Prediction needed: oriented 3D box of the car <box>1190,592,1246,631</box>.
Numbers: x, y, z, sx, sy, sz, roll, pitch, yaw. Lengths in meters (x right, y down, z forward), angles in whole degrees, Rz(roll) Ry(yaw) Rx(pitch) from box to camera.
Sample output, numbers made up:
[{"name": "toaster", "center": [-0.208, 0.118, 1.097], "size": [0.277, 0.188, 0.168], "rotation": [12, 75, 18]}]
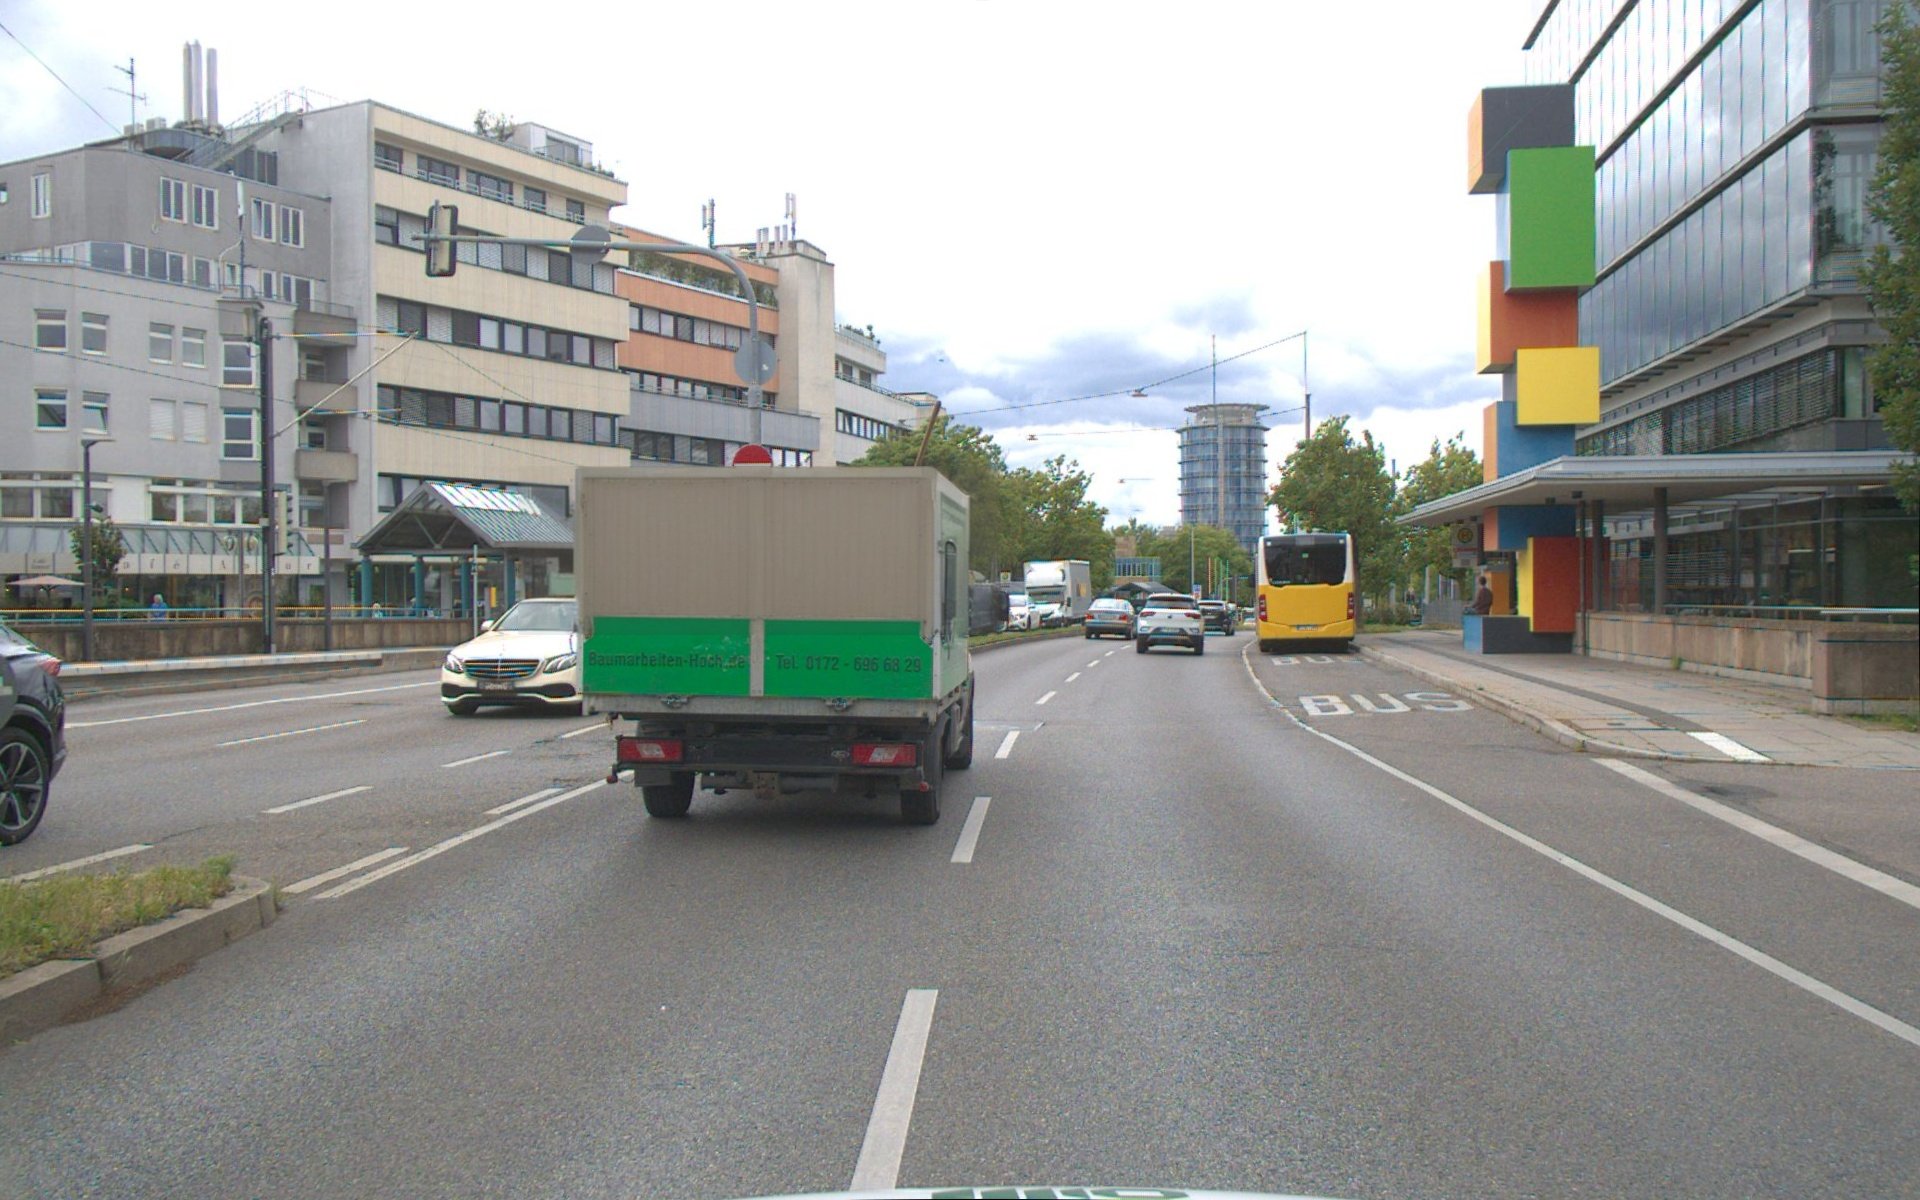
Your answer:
[{"name": "car", "center": [11.238, 0.493, 71.981], "size": [1.665, 1.542, 3.494], "rotation": [1, 2, 22]}]

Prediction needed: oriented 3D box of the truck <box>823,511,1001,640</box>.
[{"name": "truck", "center": [-1.371, -0.887, 61.772], "size": [2.891, 4.151, 16.617], "rotation": [0, 1, 12]}]

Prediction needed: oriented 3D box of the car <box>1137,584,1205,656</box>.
[{"name": "car", "center": [5.661, 0.485, 44.255], "size": [1.664, 1.574, 3.740], "rotation": [3, 4, 8]}]

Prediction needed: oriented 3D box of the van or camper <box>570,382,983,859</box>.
[{"name": "van or camper", "center": [-1.021, 0.042, 12.520], "size": [2.295, 2.708, 5.967], "rotation": [1, 1, 1]}]

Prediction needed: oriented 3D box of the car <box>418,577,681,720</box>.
[{"name": "car", "center": [-5.169, 0.581, 21.560], "size": [1.858, 1.646, 4.835], "rotation": [0, 0, 5]}]

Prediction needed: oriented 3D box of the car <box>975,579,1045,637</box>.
[{"name": "car", "center": [1.894, 0.250, 60.850], "size": [1.951, 2.049, 5.201], "rotation": [0, 0, 9]}]

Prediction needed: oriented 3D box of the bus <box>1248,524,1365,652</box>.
[{"name": "bus", "center": [9.885, -0.345, 47.722], "size": [2.891, 3.246, 9.937], "rotation": [-1, 0, 11]}]

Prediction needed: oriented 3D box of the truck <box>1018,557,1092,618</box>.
[{"name": "truck", "center": [5.177, -0.690, 88.343], "size": [3.017, 3.081, 9.366], "rotation": [0, 0, 9]}]

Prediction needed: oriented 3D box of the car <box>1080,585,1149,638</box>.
[{"name": "car", "center": [5.446, 0.385, 57.901], "size": [1.664, 1.542, 3.740], "rotation": [1, 4, 17]}]

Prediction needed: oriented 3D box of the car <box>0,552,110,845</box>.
[{"name": "car", "center": [-6.390, 0.552, 8.302], "size": [1.858, 1.646, 4.277], "rotation": [0, 0, 3]}]

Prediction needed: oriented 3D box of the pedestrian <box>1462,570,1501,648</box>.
[{"name": "pedestrian", "center": [12.496, 0.209, 39.654], "size": [0.695, 1.847, 0.764], "rotation": [0, 0, 0]}]

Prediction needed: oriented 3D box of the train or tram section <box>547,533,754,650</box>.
[{"name": "train or tram section", "center": [-10.064, -0.262, 55.822], "size": [2.505, 3.470, 13.093], "rotation": [0, 0, 9]}]
